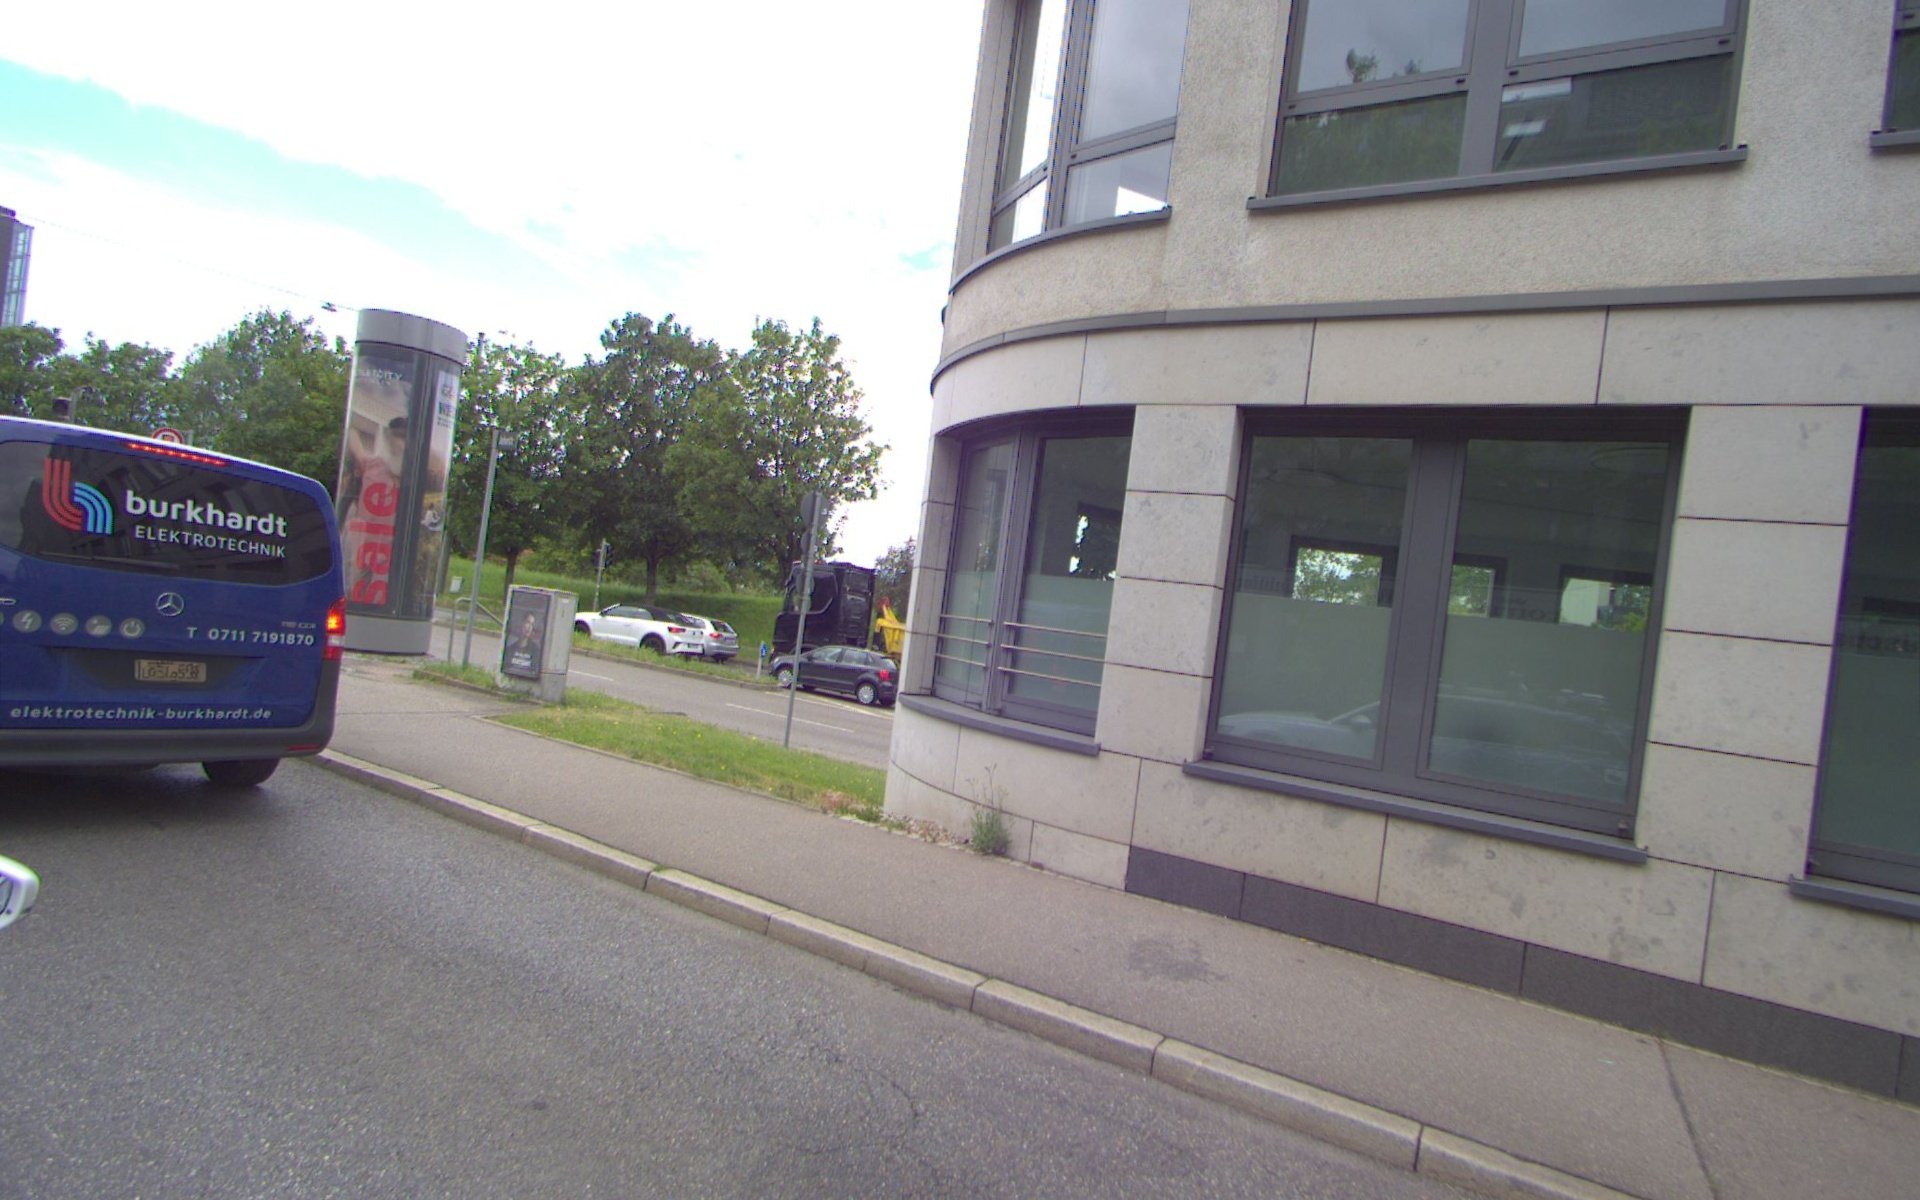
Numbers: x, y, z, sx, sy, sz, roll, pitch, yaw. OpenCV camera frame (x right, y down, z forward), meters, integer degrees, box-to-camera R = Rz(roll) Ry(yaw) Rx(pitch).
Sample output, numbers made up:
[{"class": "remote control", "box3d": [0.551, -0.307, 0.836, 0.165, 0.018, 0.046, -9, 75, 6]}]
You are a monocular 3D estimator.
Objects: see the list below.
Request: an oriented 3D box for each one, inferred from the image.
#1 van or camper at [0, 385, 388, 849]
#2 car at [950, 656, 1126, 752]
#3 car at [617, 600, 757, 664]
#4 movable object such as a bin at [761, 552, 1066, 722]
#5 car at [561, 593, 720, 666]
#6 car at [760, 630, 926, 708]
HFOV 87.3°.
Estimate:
[{"class": "van or camper", "box3d": [-5.789, -0.107, 5.991, 4.949, 1.934, 1.862, 7, -1, 32]}, {"class": "car", "box3d": [2.023, 2.631, 25.712, 3.925, 1.723, 2.003, 8, -3, 19]}, {"class": "car", "box3d": [-9.099, 1.081, 33.601, 3.925, 1.469, 2.003, 8, -3, 19]}, {"class": "movable object such as a bin", "box3d": [-1.391, 1.053, 30.563, 8.410, 3.949, 2.870, 7, -1, 18]}, {"class": "car", "box3d": [-9.491, 0.893, 29.973, 3.925, 1.469, 2.003, 8, -3, 19]}, {"class": "car", "box3d": [-3.192, 1.911, 27.732, 3.925, 1.469, 2.003, 8, -3, 19]}]
